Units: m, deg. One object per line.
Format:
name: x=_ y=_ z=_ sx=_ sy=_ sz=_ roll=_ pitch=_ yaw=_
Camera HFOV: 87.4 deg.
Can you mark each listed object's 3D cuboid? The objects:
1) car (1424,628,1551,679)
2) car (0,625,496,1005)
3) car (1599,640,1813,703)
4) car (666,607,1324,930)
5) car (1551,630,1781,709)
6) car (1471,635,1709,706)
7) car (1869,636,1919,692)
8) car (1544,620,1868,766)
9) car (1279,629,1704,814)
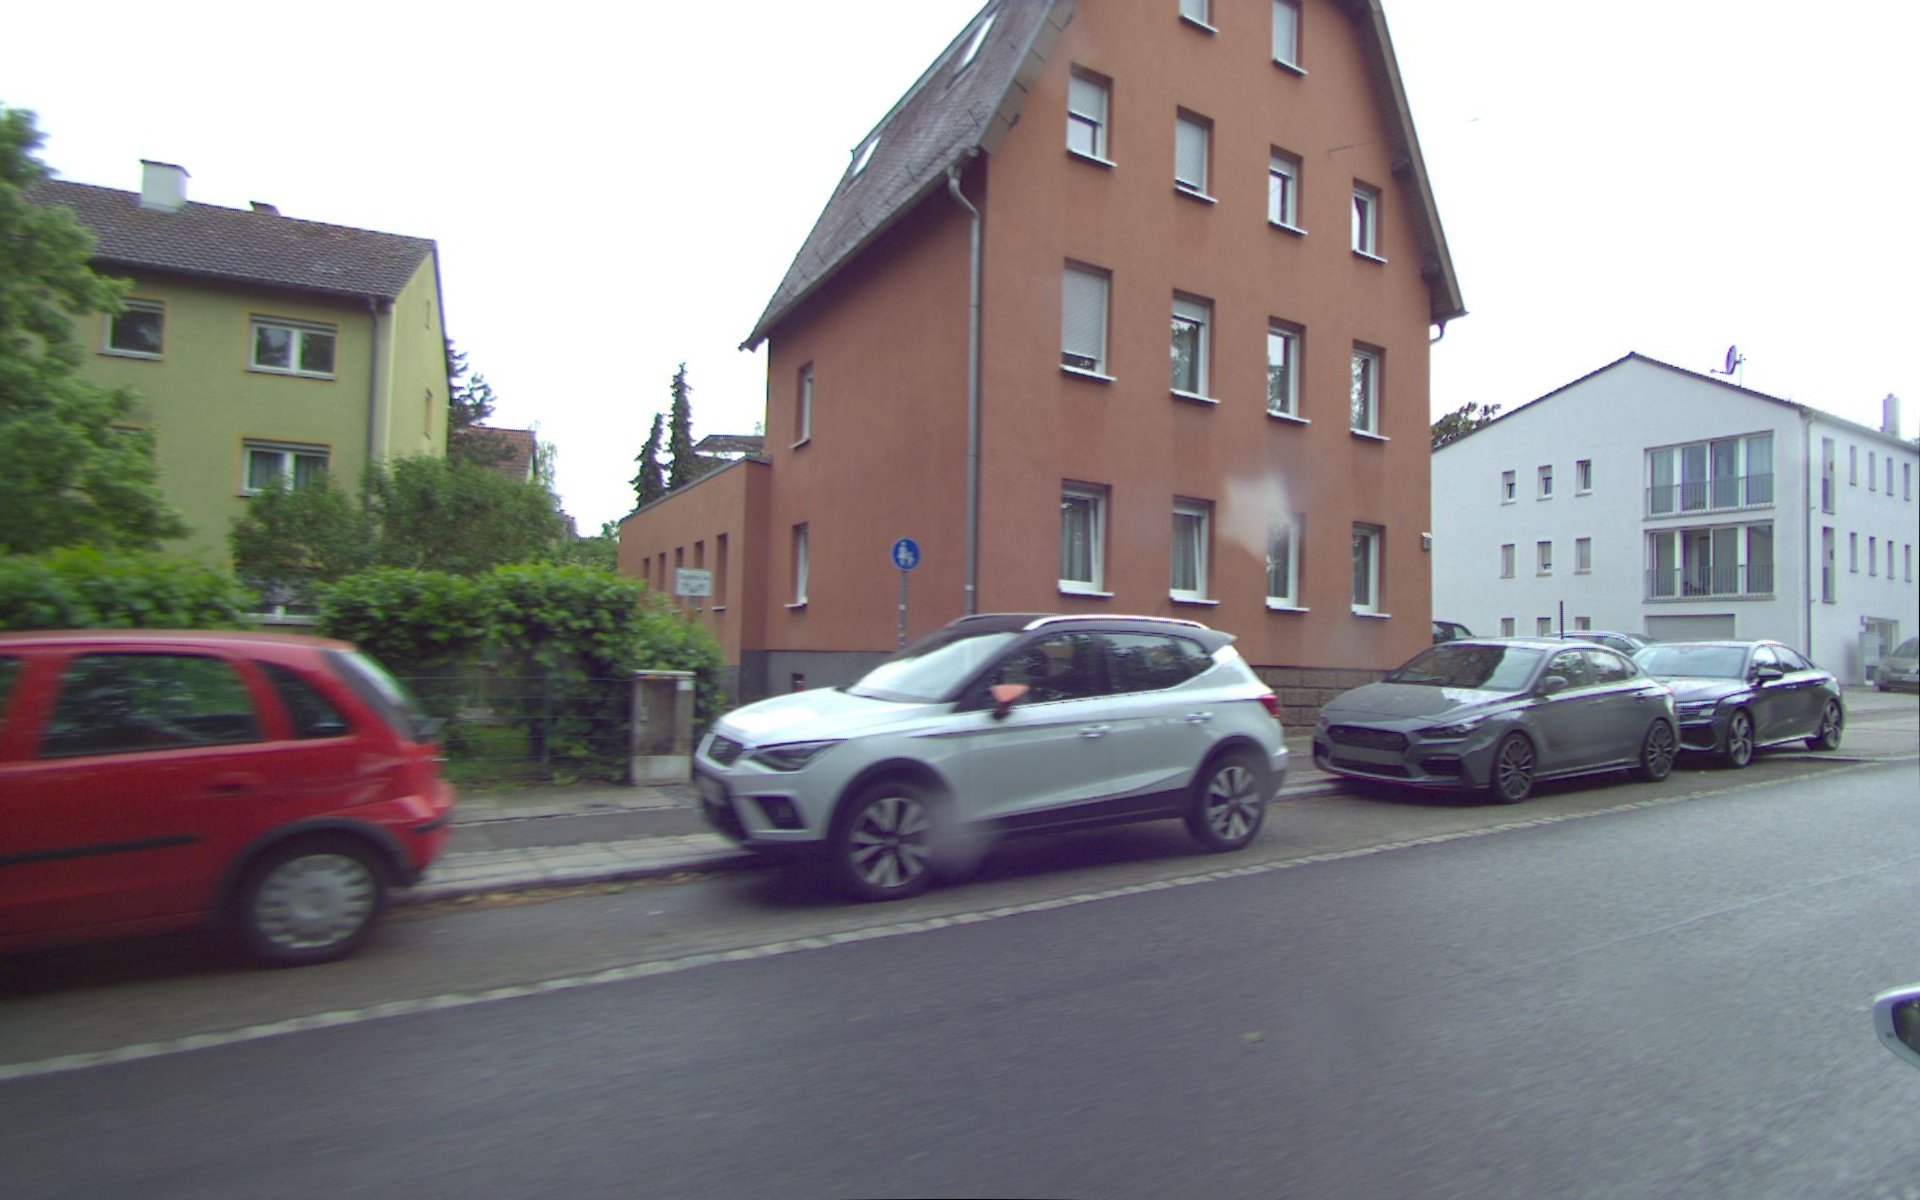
car: x=14.906 y=1.493 z=28.364 sx=3.507 sy=1.364 sz=1.456 roll=1 pitch=-2 yaw=-28
car: x=-4.140 y=0.812 z=4.329 sx=3.717 sy=1.391 sz=1.630 roll=2 pitch=-1 yaw=-32
car: x=19.056 y=1.769 z=25.866 sx=1.974 sy=1.491 sz=3.974 roll=1 pitch=-2 yaw=-26
car: x=0.312 y=0.890 z=6.650 sx=4.068 sy=1.562 sz=1.684 roll=1 pitch=-4 yaw=-30
car: x=16.977 y=1.616 z=24.381 sx=1.974 sy=1.720 sz=4.137 roll=1 pitch=-2 yaw=-26
car: x=14.529 y=1.566 z=23.436 sx=2.043 sy=1.482 sz=4.271 roll=1 pitch=-2 yaw=-29
car: x=28.307 y=1.822 z=29.275 sx=4.050 sy=1.550 sz=1.659 roll=1 pitch=-2 yaw=-32
car: x=9.298 y=1.061 z=12.434 sx=4.307 sy=1.502 sz=1.627 roll=2 pitch=0 yaw=-30
car: x=5.377 y=1.053 z=10.039 sx=4.333 sy=1.501 sz=1.736 roll=1 pitch=-2 yaw=-30
